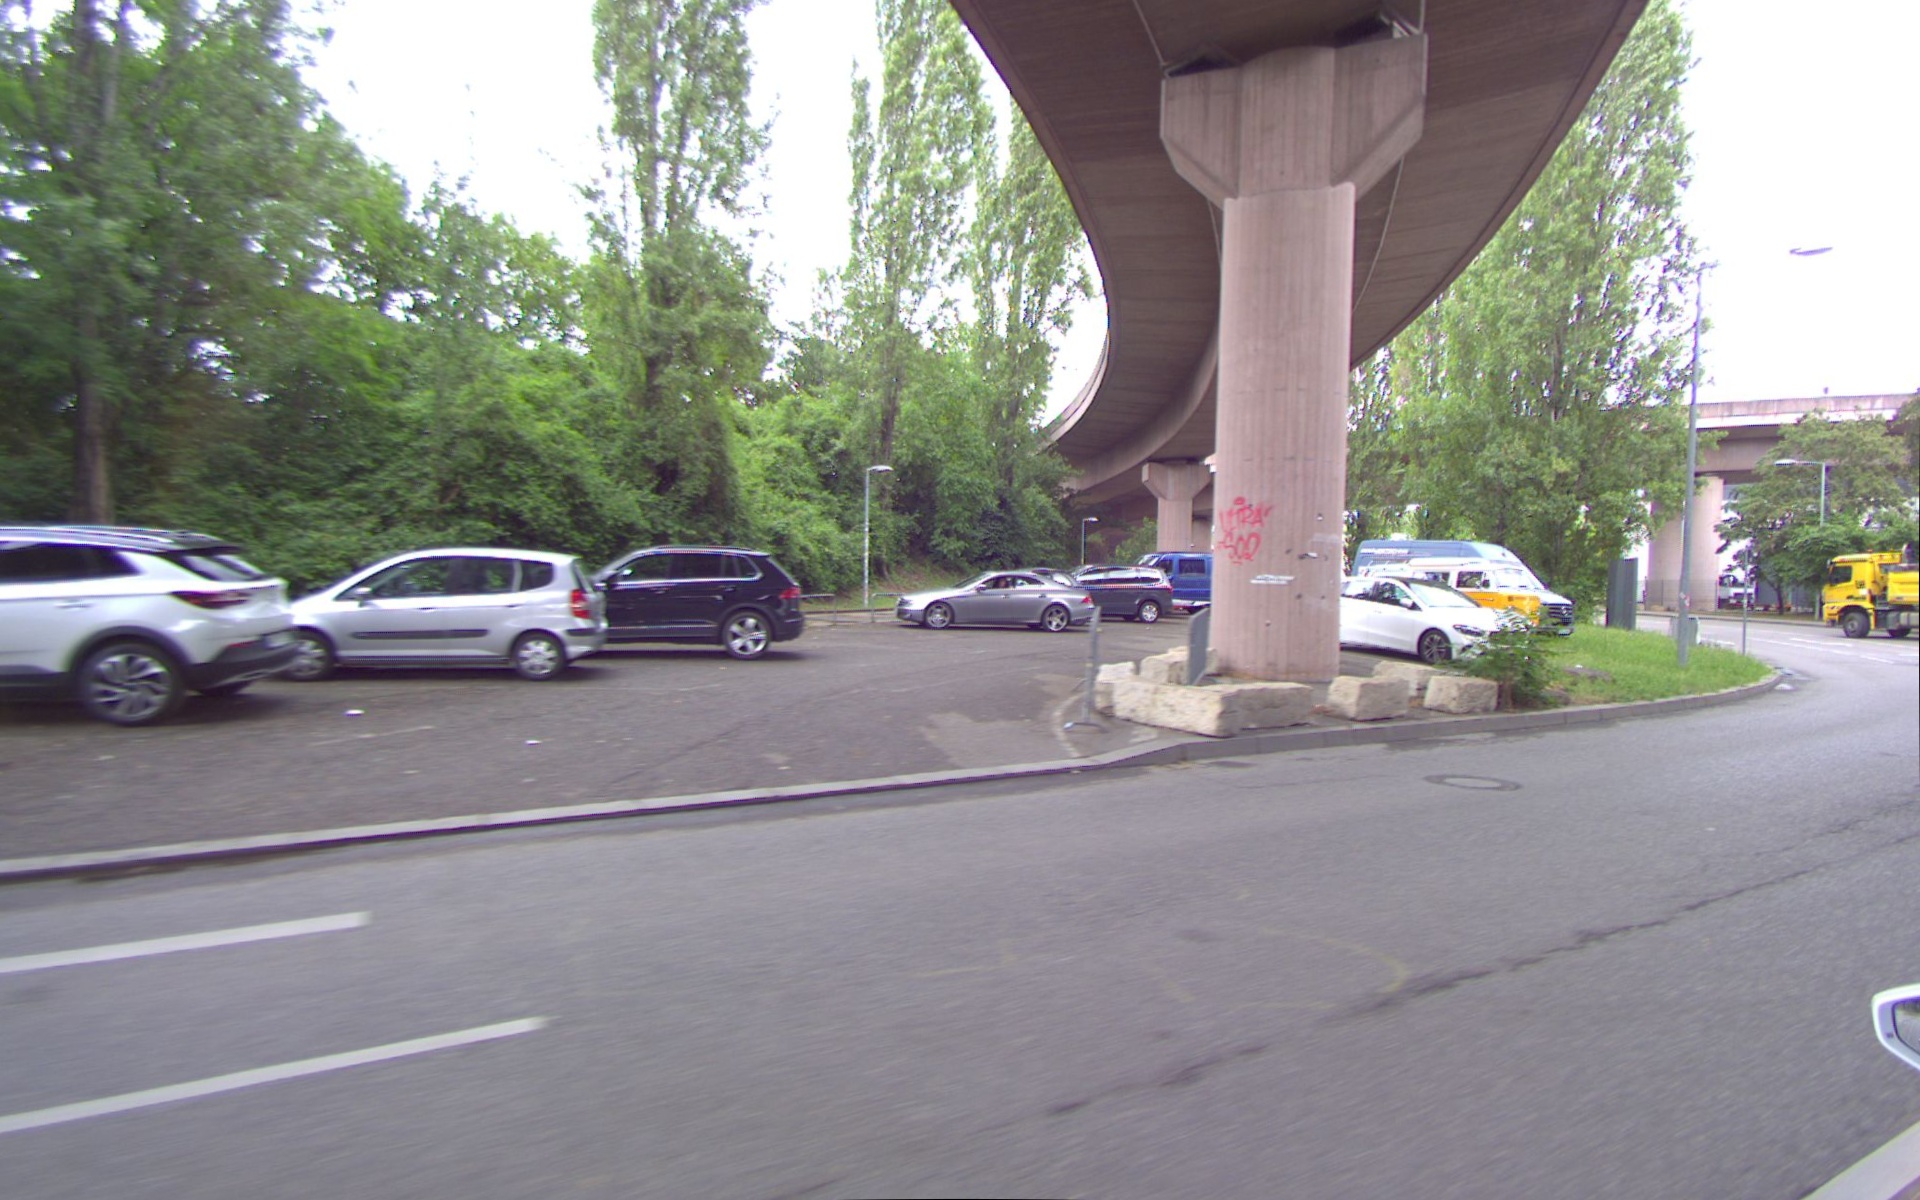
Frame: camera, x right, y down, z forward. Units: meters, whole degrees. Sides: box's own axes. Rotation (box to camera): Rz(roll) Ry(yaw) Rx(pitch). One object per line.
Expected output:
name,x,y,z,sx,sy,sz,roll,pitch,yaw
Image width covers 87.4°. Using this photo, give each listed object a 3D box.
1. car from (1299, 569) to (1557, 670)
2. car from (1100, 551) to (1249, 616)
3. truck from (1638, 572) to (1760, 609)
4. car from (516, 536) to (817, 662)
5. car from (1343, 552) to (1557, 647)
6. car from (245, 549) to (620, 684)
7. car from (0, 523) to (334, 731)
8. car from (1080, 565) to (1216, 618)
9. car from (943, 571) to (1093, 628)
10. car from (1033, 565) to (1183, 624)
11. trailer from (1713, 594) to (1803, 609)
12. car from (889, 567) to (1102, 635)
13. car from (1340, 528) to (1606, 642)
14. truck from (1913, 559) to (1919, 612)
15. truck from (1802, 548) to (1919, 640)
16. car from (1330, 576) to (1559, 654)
car,8.977,0.280,19.733,1.927,1.628,4.368,0,3,-24
car,7.837,-0.563,36.832,4.936,2.285,2.117,0,0,-16
truck,54.030,-0.705,73.694,2.678,2.586,7.211,0,1,-13
car,-4.313,-0.008,15.205,4.093,1.714,1.858,1,1,-14
car,12.057,-0.086,25.057,1.828,2.140,4.536,0,2,-28
car,-6.179,0.194,12.218,3.683,1.473,1.787,1,1,-14
car,-8.402,0.169,8.993,4.329,1.604,1.993,2,4,-16
car,6.278,-0.264,33.752,4.082,1.698,1.896,0,0,-13
car,1.546,-0.007,26.950,3.677,1.460,1.642,0,0,-19
car,4.418,-0.161,30.274,4.081,1.698,1.897,0,0,-11
trailer,52.132,0.073,65.814,2.112,0.753,6.296,-3,1,13
car,0.811,0.002,24.077,4.805,1.508,1.857,0,3,-14
car,13.789,-0.481,27.533,2.341,2.762,6.142,0,2,-31
truck,66.509,-0.877,66.533,3.010,3.668,7.898,0,2,30
truck,38.323,-0.279,39.264,2.885,3.528,8.225,-3,1,-12
car,10.558,0.259,22.252,1.974,1.390,4.229,0,3,-26
